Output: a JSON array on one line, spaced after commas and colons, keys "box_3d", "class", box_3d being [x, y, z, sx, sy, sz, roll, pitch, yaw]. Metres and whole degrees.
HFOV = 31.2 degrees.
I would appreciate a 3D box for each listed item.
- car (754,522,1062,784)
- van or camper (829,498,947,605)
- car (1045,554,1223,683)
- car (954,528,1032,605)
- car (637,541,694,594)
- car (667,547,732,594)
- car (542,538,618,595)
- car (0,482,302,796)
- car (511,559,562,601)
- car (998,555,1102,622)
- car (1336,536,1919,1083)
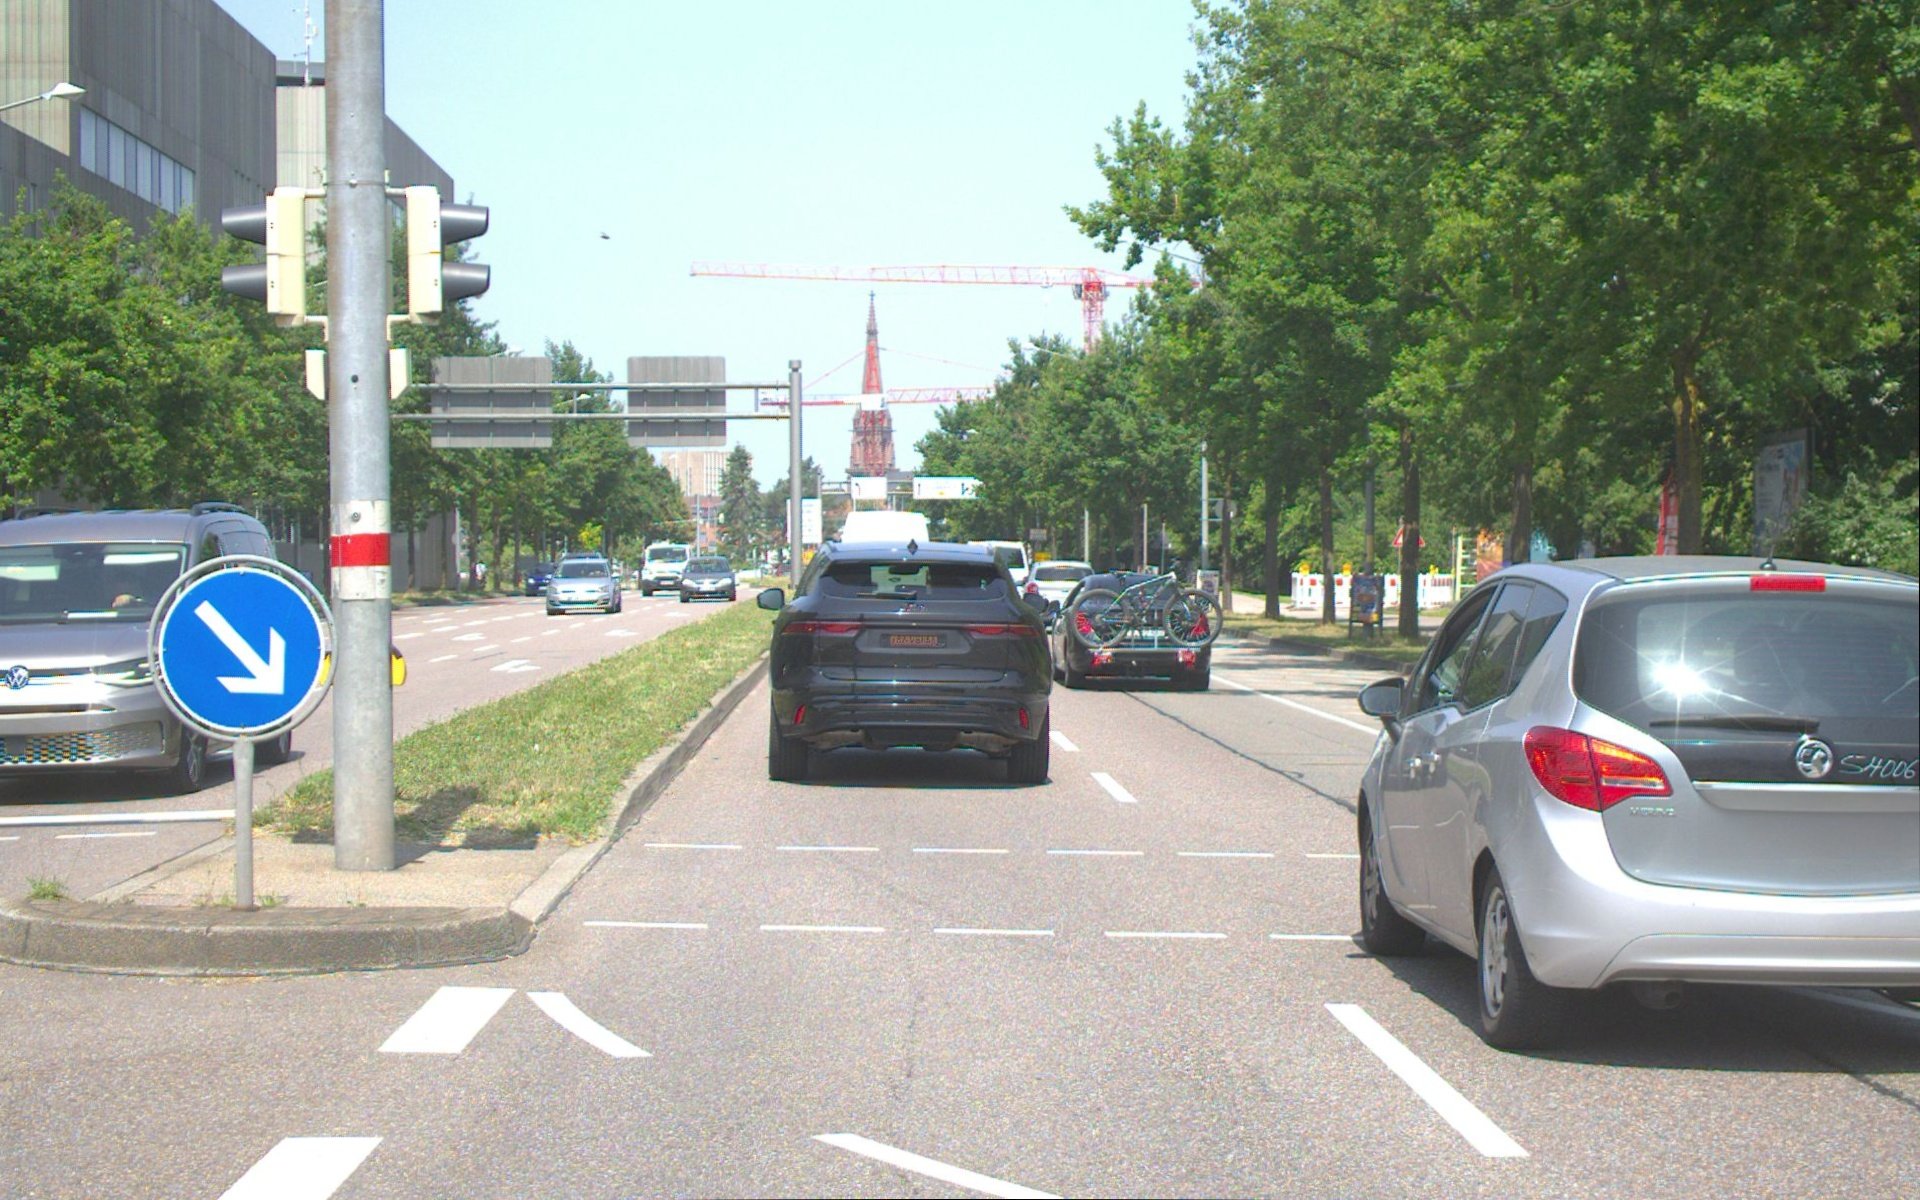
[{"box_3d": [-0.341, 0.319, 24.581, 1.998, 1.684, 4.034, 1, 1, 0], "class": "car"}, {"box_3d": [-1.639, -1.058, 75.857, 2.493, 2.283, 4.921, 0, 0, -2], "class": "van or camper"}, {"box_3d": [2.095, 0.203, 42.518, 2.014, 1.512, 4.461, 0, 0, 1], "class": "car"}, {"box_3d": [0.850, -0.892, 90.920, 1.993, 2.007, 4.000, 0, 1, -1], "class": "car"}, {"box_3d": [-11.520, -1.293, 134.720, 1.909, 1.986, 4.898, -1, 1, -2], "class": "car"}, {"box_3d": [-8.382, -0.974, 110.852, 1.810, 1.461, 4.058, -1, 1, -1], "class": "car"}, {"box_3d": [-10.125, -0.913, 91.864, 1.765, 1.455, 4.146, -1, 1, -3], "class": "car"}, {"box_3d": [-5.608, 0.190, 22.240, 1.810, 1.795, 4.714, -1, 1, -1], "class": "car"}, {"box_3d": [-18.107, -0.876, 147.174, 1.810, 1.741, 4.647, -1, 1, -3], "class": "car"}, {"box_3d": [1.851, -0.252, 72.141, 1.654, 1.351, 4.461, 0, 0, -5], "class": "car"}, {"box_3d": [2.488, 0.602, 12.161, 1.792, 1.606, 3.891, 1, 1, -1], "class": "car"}]
